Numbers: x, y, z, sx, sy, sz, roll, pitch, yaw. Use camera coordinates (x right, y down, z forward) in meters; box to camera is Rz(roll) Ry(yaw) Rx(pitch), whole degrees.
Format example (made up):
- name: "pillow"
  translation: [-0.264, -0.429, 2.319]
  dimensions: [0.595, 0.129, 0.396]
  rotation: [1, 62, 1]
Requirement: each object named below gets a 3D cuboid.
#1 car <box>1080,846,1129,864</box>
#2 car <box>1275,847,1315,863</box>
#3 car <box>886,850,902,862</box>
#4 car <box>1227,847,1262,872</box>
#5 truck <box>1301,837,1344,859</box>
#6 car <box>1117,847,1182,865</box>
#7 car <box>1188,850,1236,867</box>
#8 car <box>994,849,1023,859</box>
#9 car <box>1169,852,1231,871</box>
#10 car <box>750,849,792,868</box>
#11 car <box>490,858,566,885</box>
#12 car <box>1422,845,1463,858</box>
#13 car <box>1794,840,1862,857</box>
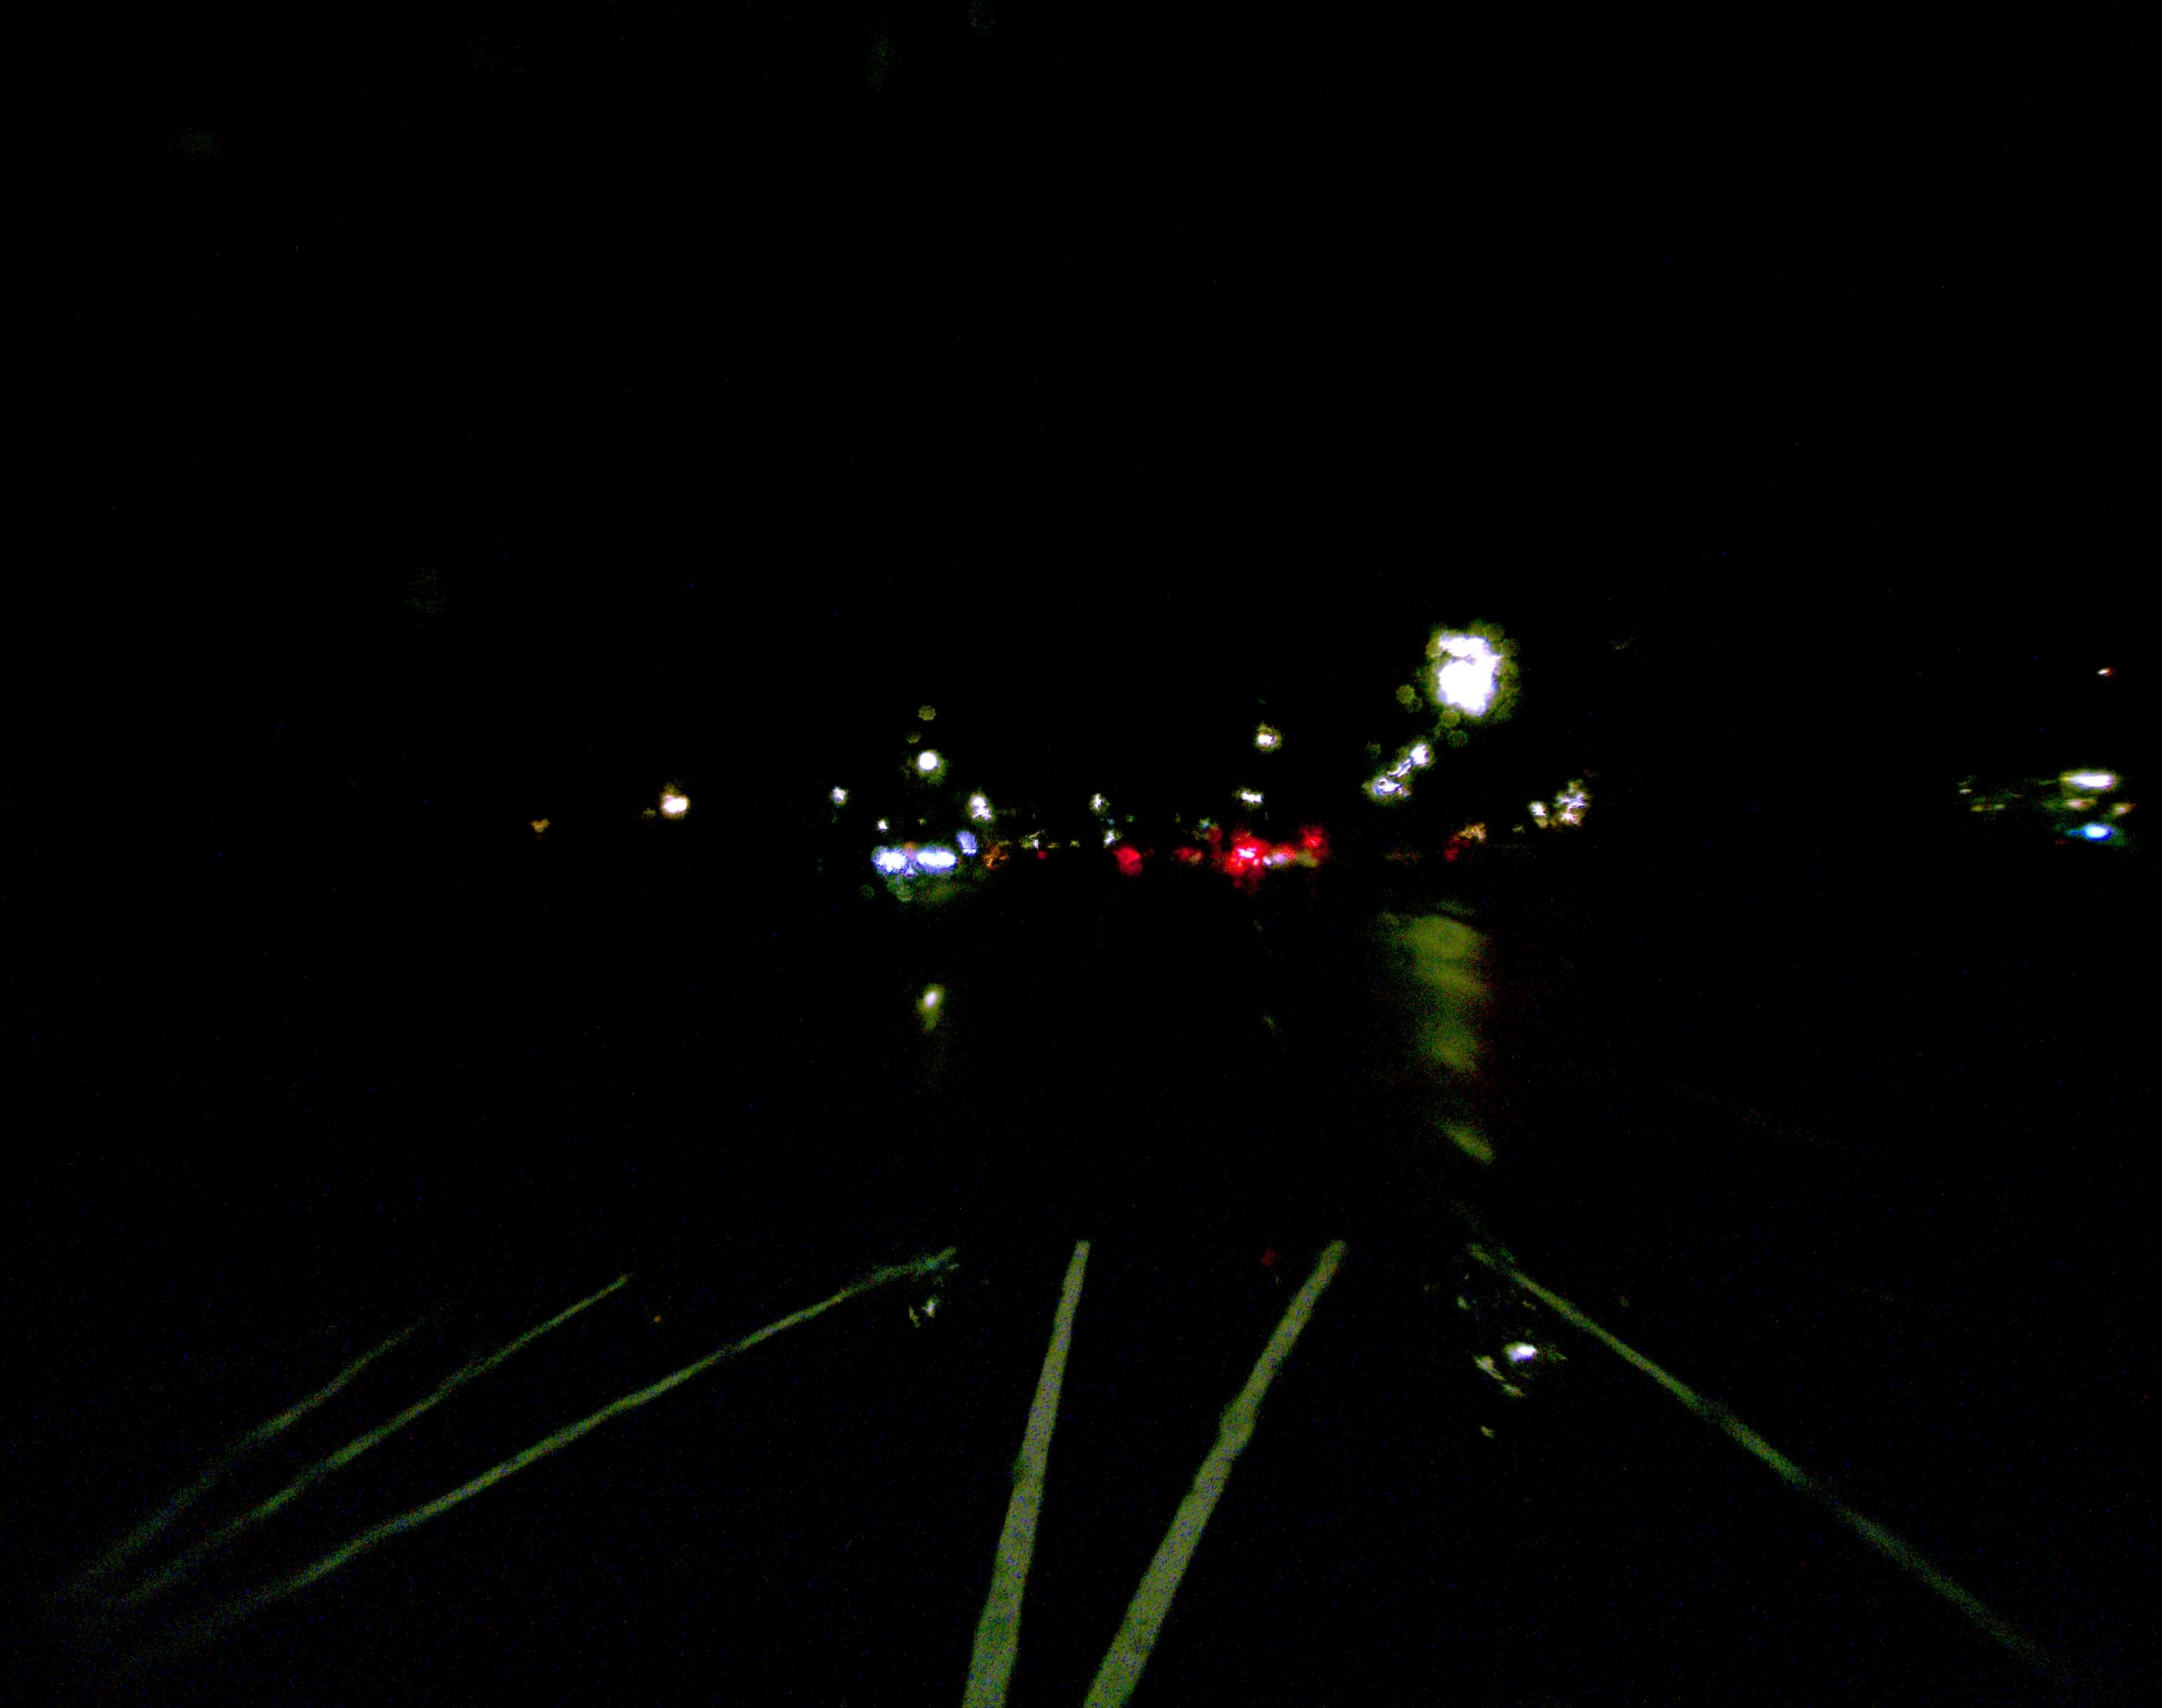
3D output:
- name: "car"
  translation: [2.152, 0.056, 70.864]
  dimensions: [4.430, 1.612, 1.999]
  rotation: [0, 1, -4]
- name: "car"
  translation: [22.092, 0.079, 78.437]
  dimensions: [4.194, 1.524, 1.994]
  rotation: [-1, 1, -39]
- name: "car"
  translation: [-28.747, 0.289, 116.818]
  dimensions: [2.000, 1.744, 3.996]
  rotation: [0, 1, -10]
- name: "car"
  translation: [11.188, 0.343, 52.251]
  dimensions: [1.997, 1.447, 4.305]
  rotation: [4, 1, 8]
- name: "truck"
  translation: [26.843, -0.665, 84.192]
  dimensions: [2.316, 2.383, 7.828]
  rotation: [1, 1, 34]
- name: "car"
  translation: [5.724, 0.147, 63.606]
  dimensions: [5.099, 1.457, 1.998]
  rotation: [-1, 1, -8]
- name: "car"
  translation: [12.718, 0.436, 73.617]
  dimensions: [4.190, 1.524, 1.996]
  rotation: [-1, 1, -22]
- name: "car"
  translation: [-11.299, 0.013, 118.539]
  dimensions: [4.190, 1.457, 1.996]
  rotation: [-1, 1, -21]
- name: "car"
  translation: [10.711, 0.653, 68.568]
  dimensions: [5.201, 1.573, 1.997]
  rotation: [-1, 1, -16]
- name: "car"
  translation: [-29.274, 0.390, 71.737]
  dimensions: [3.988, 1.775, 2.004]
  rotation: [1, 1, 39]
- name: "car"
  translation: [-32.193, 1.007, 44.363]
  dimensions: [1.485, 1.439, 4.020]
  rotation: [-1, 1, -1]
- name: "car"
  translation: [44.283, -0.365, 93.069]
  dimensions: [4.417, 1.524, 2.003]
  rotation: [1, 1, 25]
- name: "car"
  translation: [74.509, -0.578, 75.881]
  dimensions: [4.420, 1.612, 2.003]
  rotation: [1, 1, 25]
